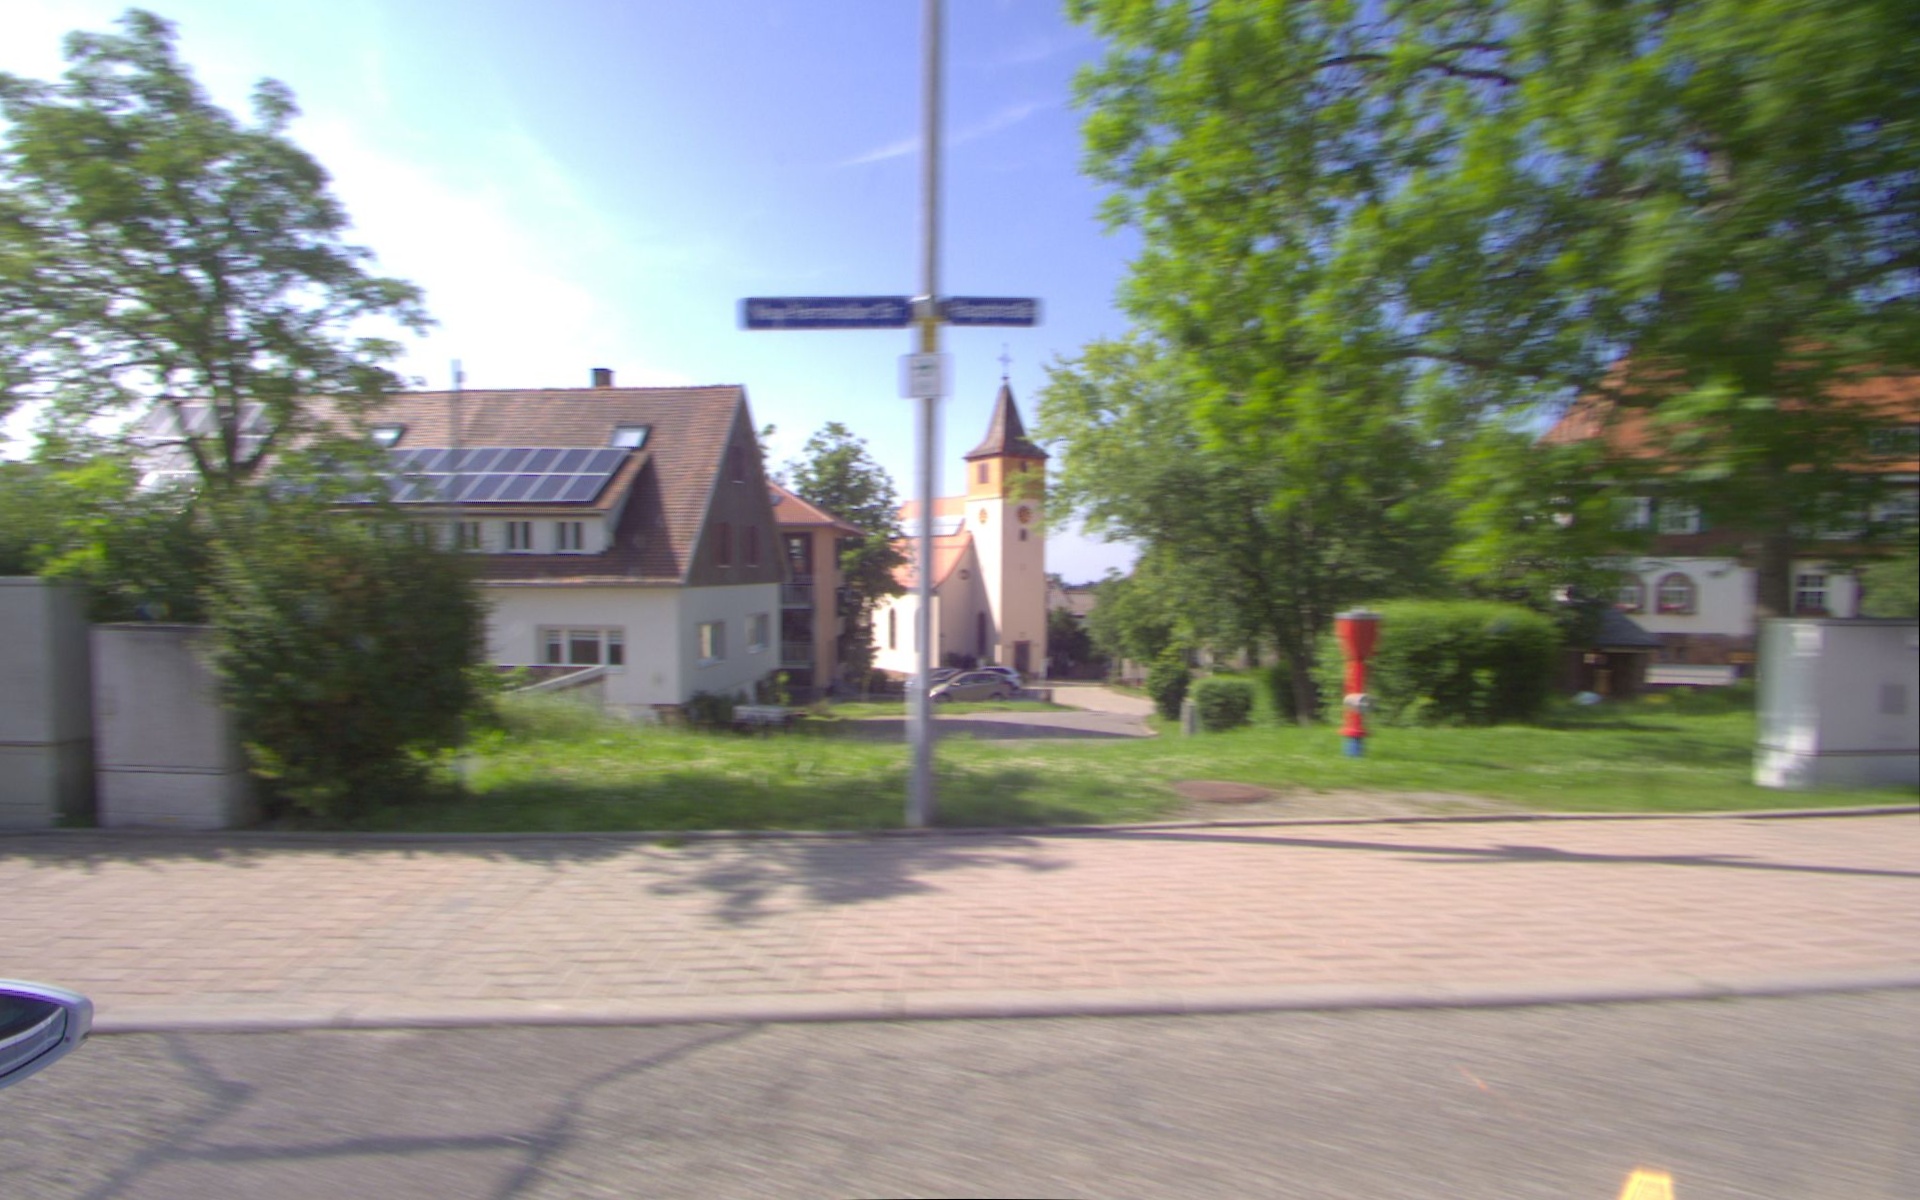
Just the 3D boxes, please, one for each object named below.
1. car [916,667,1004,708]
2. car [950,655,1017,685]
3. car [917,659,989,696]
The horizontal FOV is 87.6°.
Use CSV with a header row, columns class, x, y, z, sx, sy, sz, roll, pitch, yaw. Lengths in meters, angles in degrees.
class,x,y,z,sx,sy,sz,roll,pitch,yaw
car,-0.027,4.182,47.928,4.024,1.780,1.714,-1,-1,-5
car,1.367,4.068,58.792,3.712,1.614,1.714,-1,-1,-6
car,-0.394,4.145,53.748,3.712,1.780,1.714,-1,-1,-6
